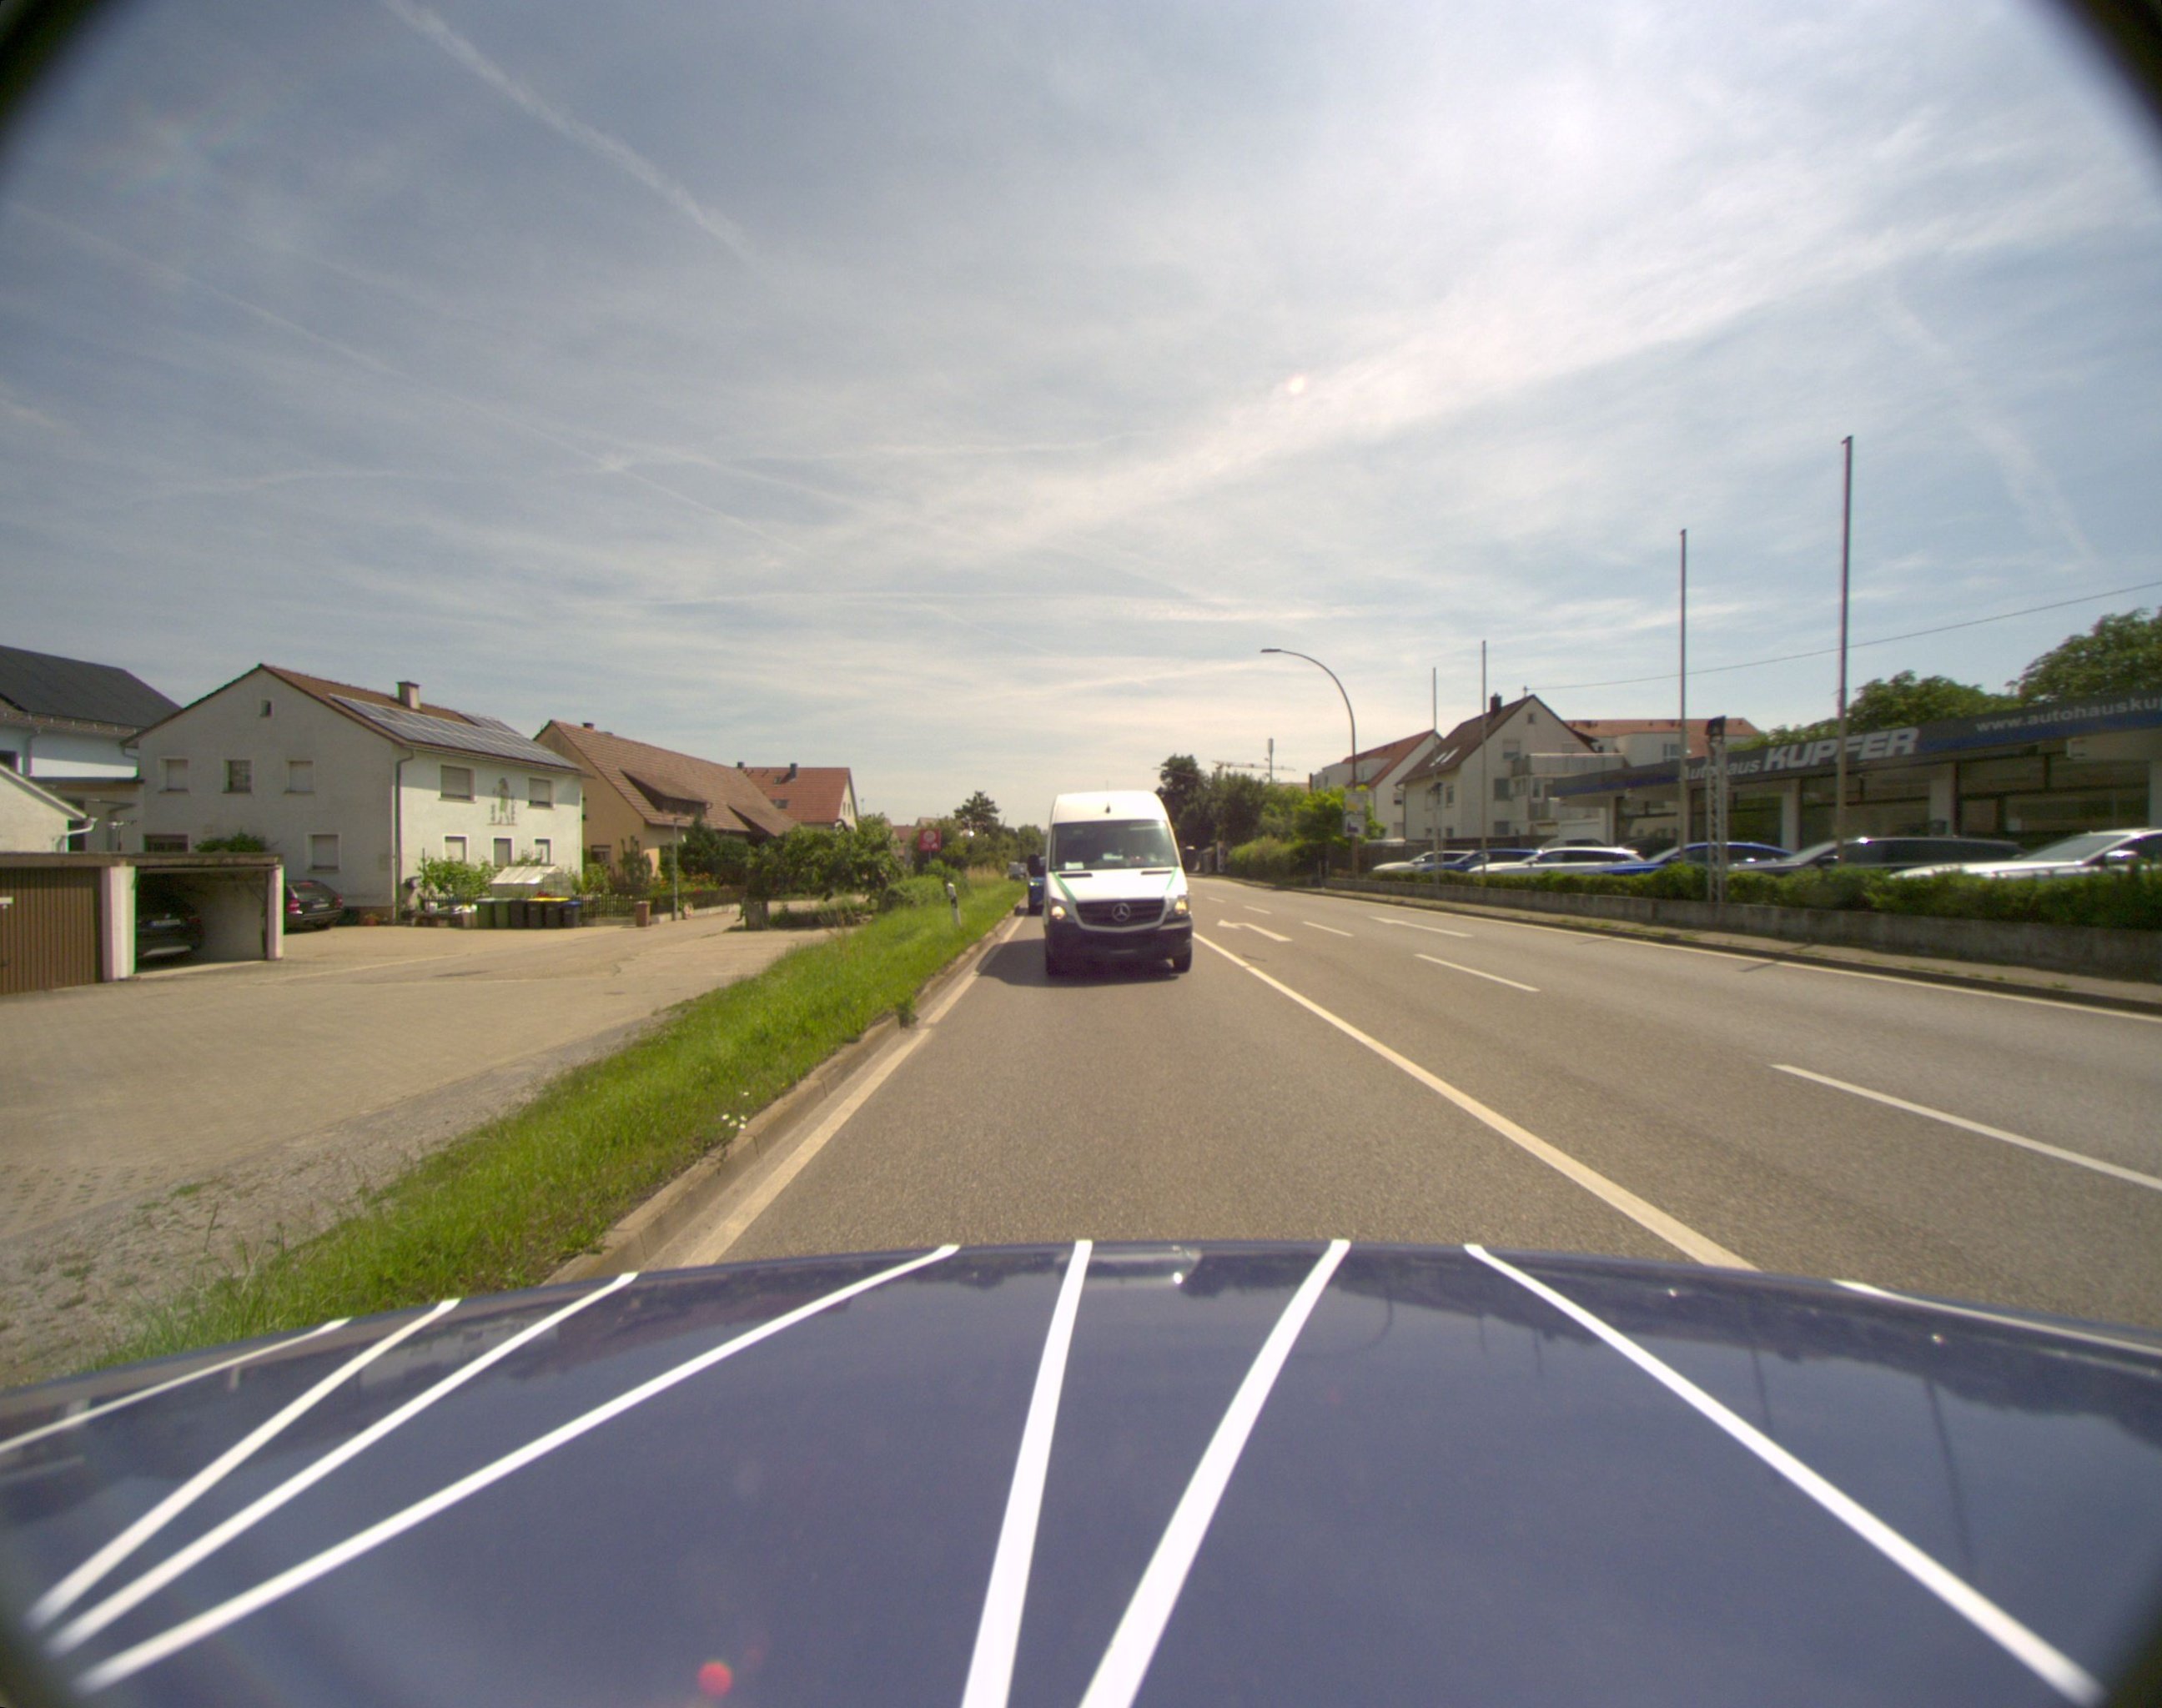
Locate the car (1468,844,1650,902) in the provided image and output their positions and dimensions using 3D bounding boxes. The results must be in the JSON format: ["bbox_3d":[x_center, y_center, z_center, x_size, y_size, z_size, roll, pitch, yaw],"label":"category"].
[{"bbox_3d":[13.787,0.565,22.230,4.303,1.510,2.003,-2,0,28],"label":"car"}]

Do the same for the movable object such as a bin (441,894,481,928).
[{"bbox_3d":[-22.771,2.093,27.901,0.740,1.149,0.830,-2,0,0],"label":"movable object such as a bin"}]

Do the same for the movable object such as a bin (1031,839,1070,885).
[{"bbox_3d":[-1.890,0.510,48.573,1.998,2.710,5.420,-2,0,2],"label":"movable object such as a bin"}]

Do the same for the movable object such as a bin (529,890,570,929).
[{"bbox_3d":[-19.459,2.017,27.836,0.765,1.362,0.946,-2,0,0],"label":"movable object such as a bin"}]

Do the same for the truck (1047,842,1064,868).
[{"bbox_3d":[-4.053,0.177,121.342,2.506,3.847,5.497,-2,0,0],"label":"truck"}]

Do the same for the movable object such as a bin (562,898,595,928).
[{"bbox_3d":[-18.448,2.165,27.913,0.645,1.021,0.756,-2,0,0],"label":"movable object such as a bin"}]

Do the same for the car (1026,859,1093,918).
[{"bbox_3d":[-0.588,0.952,22.809,1.824,1.574,3.902,-1,0,0],"label":"car"}]

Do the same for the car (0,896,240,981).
[{"bbox_3d":[-21.337,1.810,16.564,3.996,1.594,1.826,-2,0,1],"label":"car"}]

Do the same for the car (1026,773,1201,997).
[{"bbox_3d":[0.400,0.380,11.868,1.977,2.583,5.634,-2,0,0],"label":"car"}]

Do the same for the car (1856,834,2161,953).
[{"bbox_3d":[13.856,0.488,10.279,4.329,1.451,1.858,-2,0,25],"label":"car"}]

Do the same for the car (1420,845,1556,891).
[{"bbox_3d":[14.082,0.487,26.465,3.990,1.455,2.003,-2,0,27],"label":"car"}]

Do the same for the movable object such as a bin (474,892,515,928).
[{"bbox_3d":[-21.714,2.050,28.144,0.745,1.239,0.889,-2,0,0],"label":"movable object such as a bin"}]

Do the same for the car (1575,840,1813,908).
[{"bbox_3d":[14.147,0.471,17.859,3.990,1.433,1.857,-2,0,26],"label":"car"}]

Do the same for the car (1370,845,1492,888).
[{"bbox_3d":[14.011,0.505,30.490,4.255,1.521,2.003,-2,0,27],"label":"car"}]

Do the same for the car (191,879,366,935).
[{"bbox_3d":[-27.208,1.765,25.861,3.997,1.724,1.828,0,1,0],"label":"car"}]

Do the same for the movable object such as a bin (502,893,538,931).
[{"bbox_3d":[-20.792,2.131,28.157,0.678,1.330,0.820,-2,0,0],"label":"movable object such as a bin"}]

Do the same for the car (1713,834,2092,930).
[{"bbox_3d":[14.450,0.516,13.756,4.250,1.536,1.853,-2,0,24],"label":"car"}]
